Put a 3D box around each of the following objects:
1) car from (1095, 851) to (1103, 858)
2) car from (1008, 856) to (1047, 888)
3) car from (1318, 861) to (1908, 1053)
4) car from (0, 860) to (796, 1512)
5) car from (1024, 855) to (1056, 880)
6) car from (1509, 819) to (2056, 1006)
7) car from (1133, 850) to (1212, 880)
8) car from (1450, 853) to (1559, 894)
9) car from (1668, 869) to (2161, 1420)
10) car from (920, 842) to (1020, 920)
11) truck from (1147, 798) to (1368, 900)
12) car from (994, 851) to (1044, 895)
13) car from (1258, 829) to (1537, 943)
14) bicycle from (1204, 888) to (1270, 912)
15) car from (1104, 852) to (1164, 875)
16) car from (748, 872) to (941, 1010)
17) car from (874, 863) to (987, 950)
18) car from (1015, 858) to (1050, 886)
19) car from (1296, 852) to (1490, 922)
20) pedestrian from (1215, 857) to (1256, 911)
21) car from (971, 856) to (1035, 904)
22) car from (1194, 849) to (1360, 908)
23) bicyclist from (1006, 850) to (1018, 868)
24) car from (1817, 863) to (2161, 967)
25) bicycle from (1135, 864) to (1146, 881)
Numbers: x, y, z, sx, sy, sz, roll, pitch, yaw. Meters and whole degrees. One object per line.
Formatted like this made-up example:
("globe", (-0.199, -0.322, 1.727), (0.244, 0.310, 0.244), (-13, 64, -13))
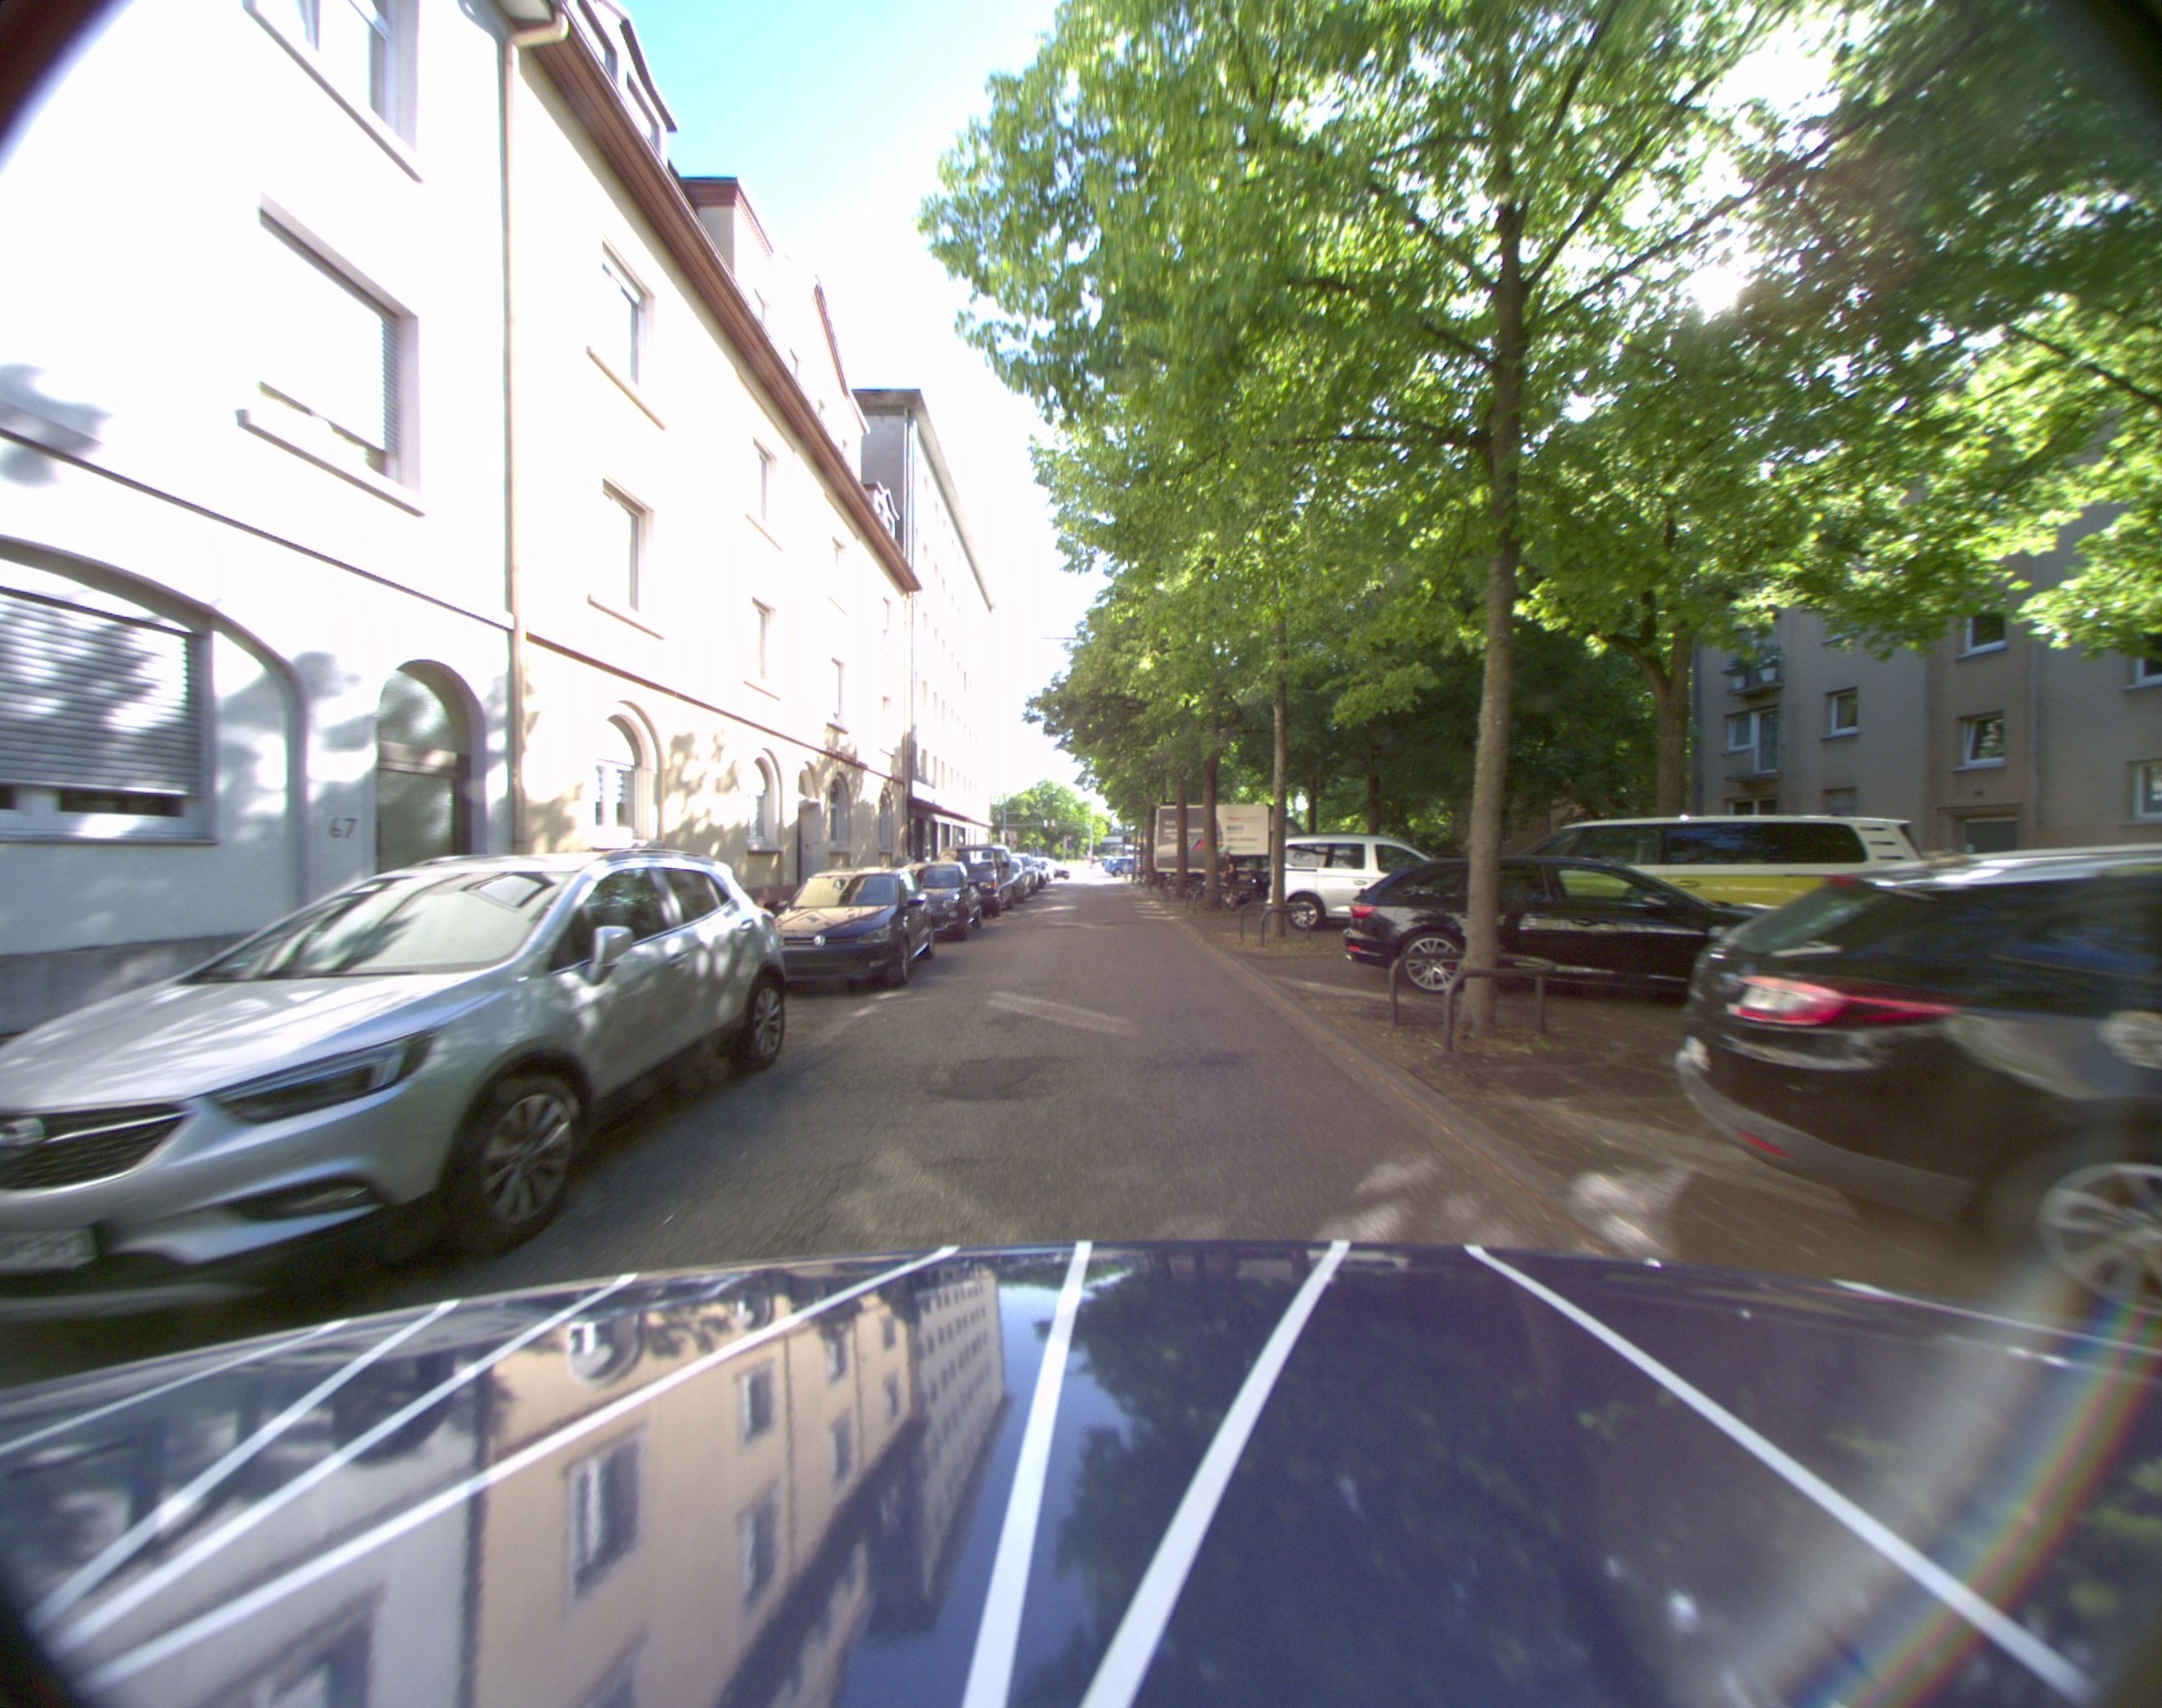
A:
("car", (4.411, 0.137, 188.752), (1.998, 1.543, 4.485), (0, 0, 1))
("car", (-2.606, 0.827, 37.221), (1.807, 1.455, 4.438), (0, 0, -4))
("car", (4.948, 0.810, 7.801), (4.477, 1.447, 1.791), (0, 1, 32))
("car", (-3.123, 0.894, 4.063), (1.727, 1.676, 4.157), (0, 0, -2))
("car", (-2.550, 0.838, 47.952), (1.723, 1.488, 4.023), (0, 0, 2))
("car", (7.948, 0.538, 9.394), (4.593, 1.821, 2.022), (1, 1, 30))
("car", (5.577, 0.657, 46.263), (4.325, 1.661, 1.841), (-2, -1, 30))
("car", (15.969, 0.667, 28.934), (1.768, 1.426, 4.344), (-1, 0, 1))
("car", (4.497, 0.810, 2.111), (4.411, 1.453, 1.719), (0, 1, 33))
("car", (-2.901, 0.662, 21.008), (1.953, 1.889, 4.845), (0, 0, 1))
("truck", (6.228, -0.175, 27.396), (7.304, 3.274, 2.552), (0, 0, 32))
("car", (-2.534, 0.740, 31.983), (1.766, 1.743, 4.509), (0, 0, -1))
("car", (5.820, 0.535, 14.254), (4.512, 1.854, 2.084), (-1, 1, 26))
("bicycle", (3.974, 1.170, 19.429), (1.610, 0.555, 0.410), (0, 0, 32))
("car", (4.181, 0.769, 60.619), (4.484, 1.765, 1.873), (0, 0, -7))
("car", (-2.924, 0.988, 10.193), (1.553, 1.386, 3.860), (0, 0, -3))
("car", (-2.899, 0.954, 15.279), (1.626, 1.489, 3.594), (0, 0, -2))
("car", (-2.642, 0.943, 41.949), (1.600, 1.455, 3.673), (0, 0, 2))
("car", (7.001, 0.687, 17.156), (3.791, 1.398, 1.627), (-1, 1, 34))
("pedestrian", (4.051, 0.765, 19.886), (0.751, 1.388, 0.930), (0, 1, 32))
("car", (-2.634, 0.831, 26.486), (1.766, 1.491, 4.238), (0, 0, 0))
("car", (5.413, 0.638, 21.129), (4.097, 1.497, 1.736), (-1, 1, 32))
("bicyclist", (-5.794, 0.415, 63.998), (0.829, 1.555, 0.595), (1, 0, -21))
("car", (15.694, 0.886, 12.967), (1.732, 1.385, 4.616), (1, 0, -1))
("bicycle", (3.980, 1.250, 51.009), (0.354, 1.066, 1.591), (0, 0, -10))
